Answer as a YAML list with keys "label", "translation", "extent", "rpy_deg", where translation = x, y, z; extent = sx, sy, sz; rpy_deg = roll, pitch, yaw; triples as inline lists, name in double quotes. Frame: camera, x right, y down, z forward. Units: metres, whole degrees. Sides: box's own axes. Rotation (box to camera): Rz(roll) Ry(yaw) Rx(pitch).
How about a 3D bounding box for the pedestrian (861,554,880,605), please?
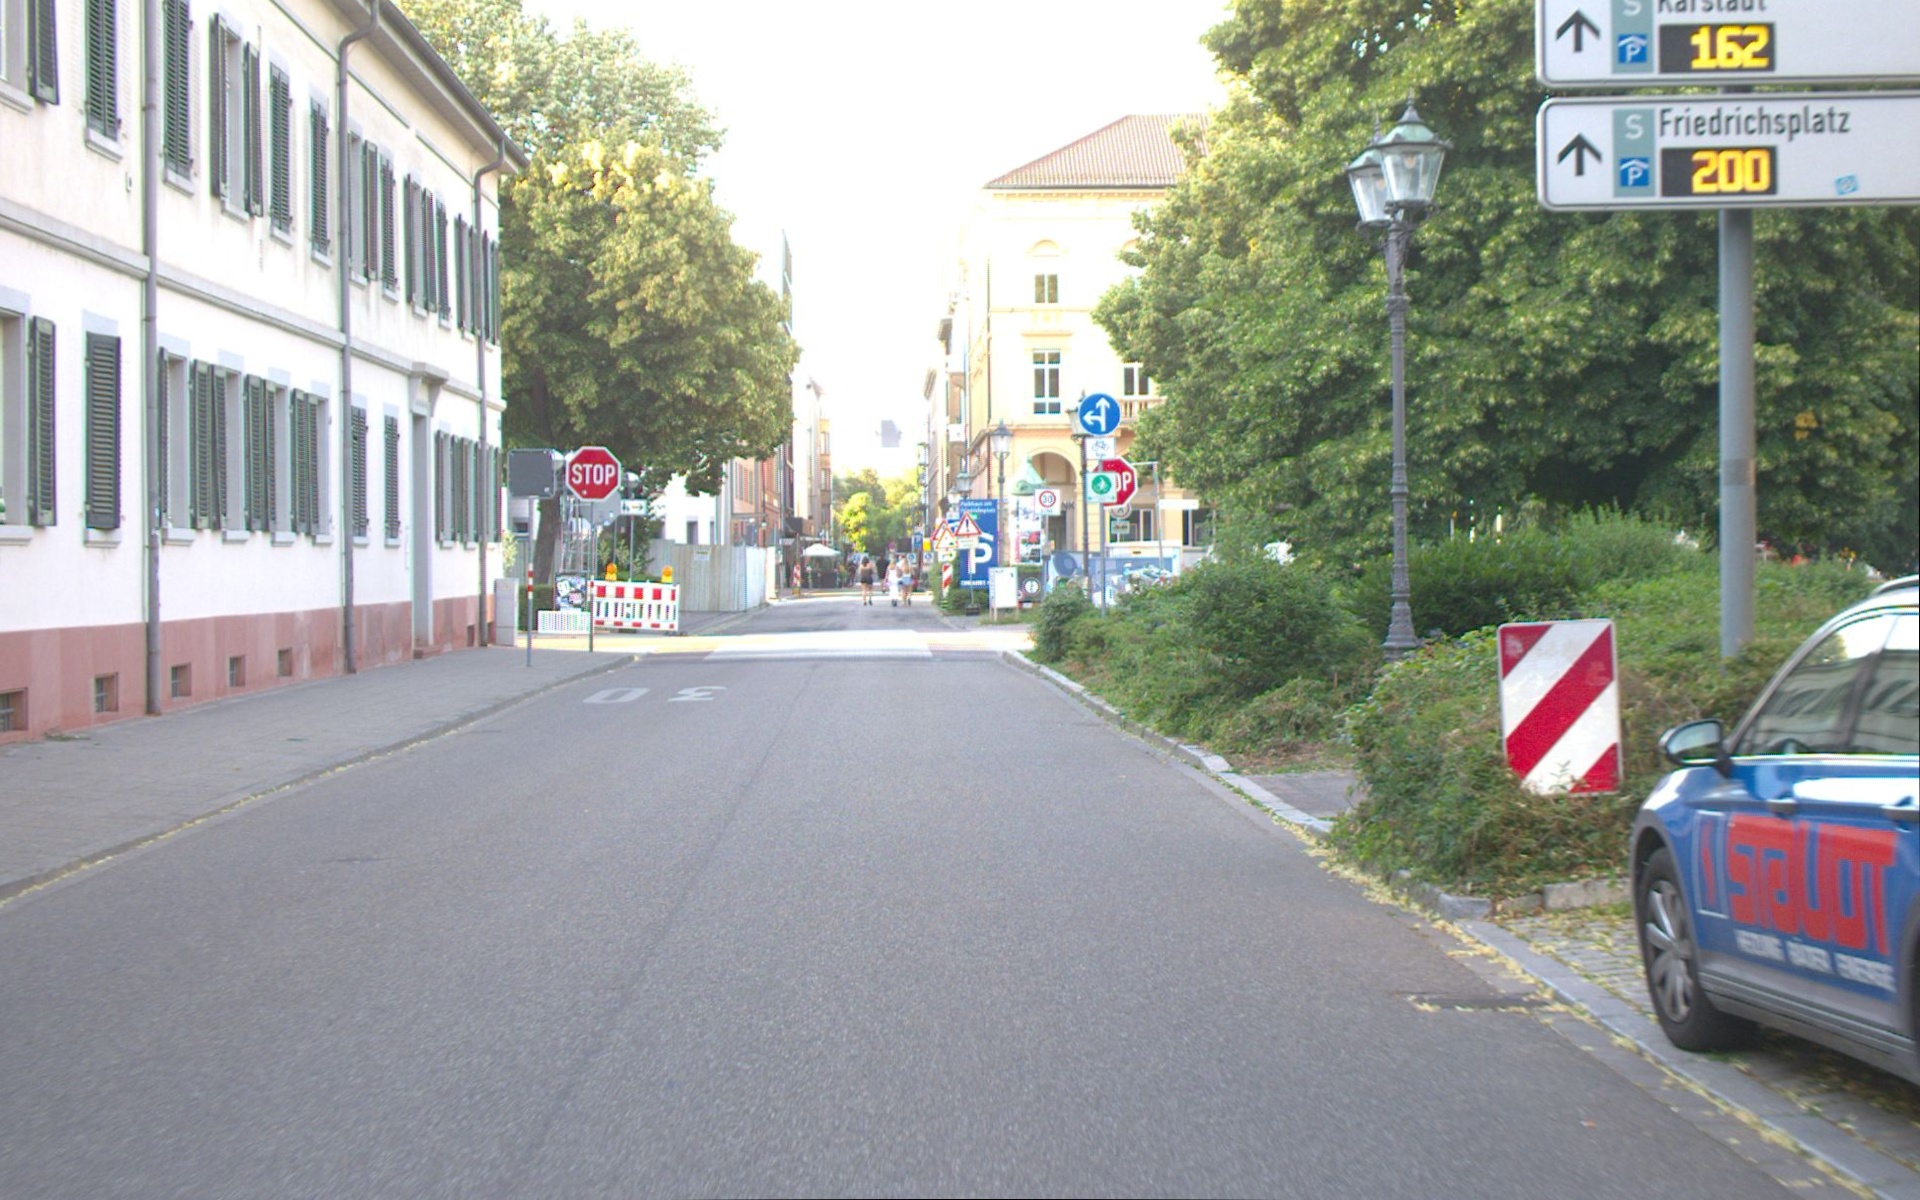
- label: "pedestrian"
  translation: [-3.150, -0.719, 120.924]
  extent: [0.657, 1.754, 0.745]
  rpy_deg: [-1, 1, -1]

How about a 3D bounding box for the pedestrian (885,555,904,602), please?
- label: "pedestrian"
  translation: [-2.268, -0.743, 119.168]
  extent: [0.657, 1.611, 0.745]
  rpy_deg: [-1, 1, -1]

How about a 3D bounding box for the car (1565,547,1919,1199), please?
- label: "car"
  translation: [3.016, 0.611, 9.073]
  extent: [1.724, 1.483, 4.611]
  rpy_deg: [-4, 1, -3]

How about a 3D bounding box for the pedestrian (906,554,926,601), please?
- label: "pedestrian"
  translation: [-1.528, -0.776, 119.192]
  extent: [0.657, 1.611, 0.745]
  rpy_deg: [-1, 1, -1]

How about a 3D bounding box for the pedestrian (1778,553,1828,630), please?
- label: "pedestrian"
  translation: [14.810, -0.156, 60.401]
  extent: [0.596, 1.337, 0.818]
  rpy_deg: [-1, 0, -7]

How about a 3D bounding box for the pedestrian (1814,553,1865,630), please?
- label: "pedestrian"
  translation: [15.467, -0.146, 60.453]
  extent: [0.596, 1.337, 0.818]
  rpy_deg: [-1, 0, -7]
